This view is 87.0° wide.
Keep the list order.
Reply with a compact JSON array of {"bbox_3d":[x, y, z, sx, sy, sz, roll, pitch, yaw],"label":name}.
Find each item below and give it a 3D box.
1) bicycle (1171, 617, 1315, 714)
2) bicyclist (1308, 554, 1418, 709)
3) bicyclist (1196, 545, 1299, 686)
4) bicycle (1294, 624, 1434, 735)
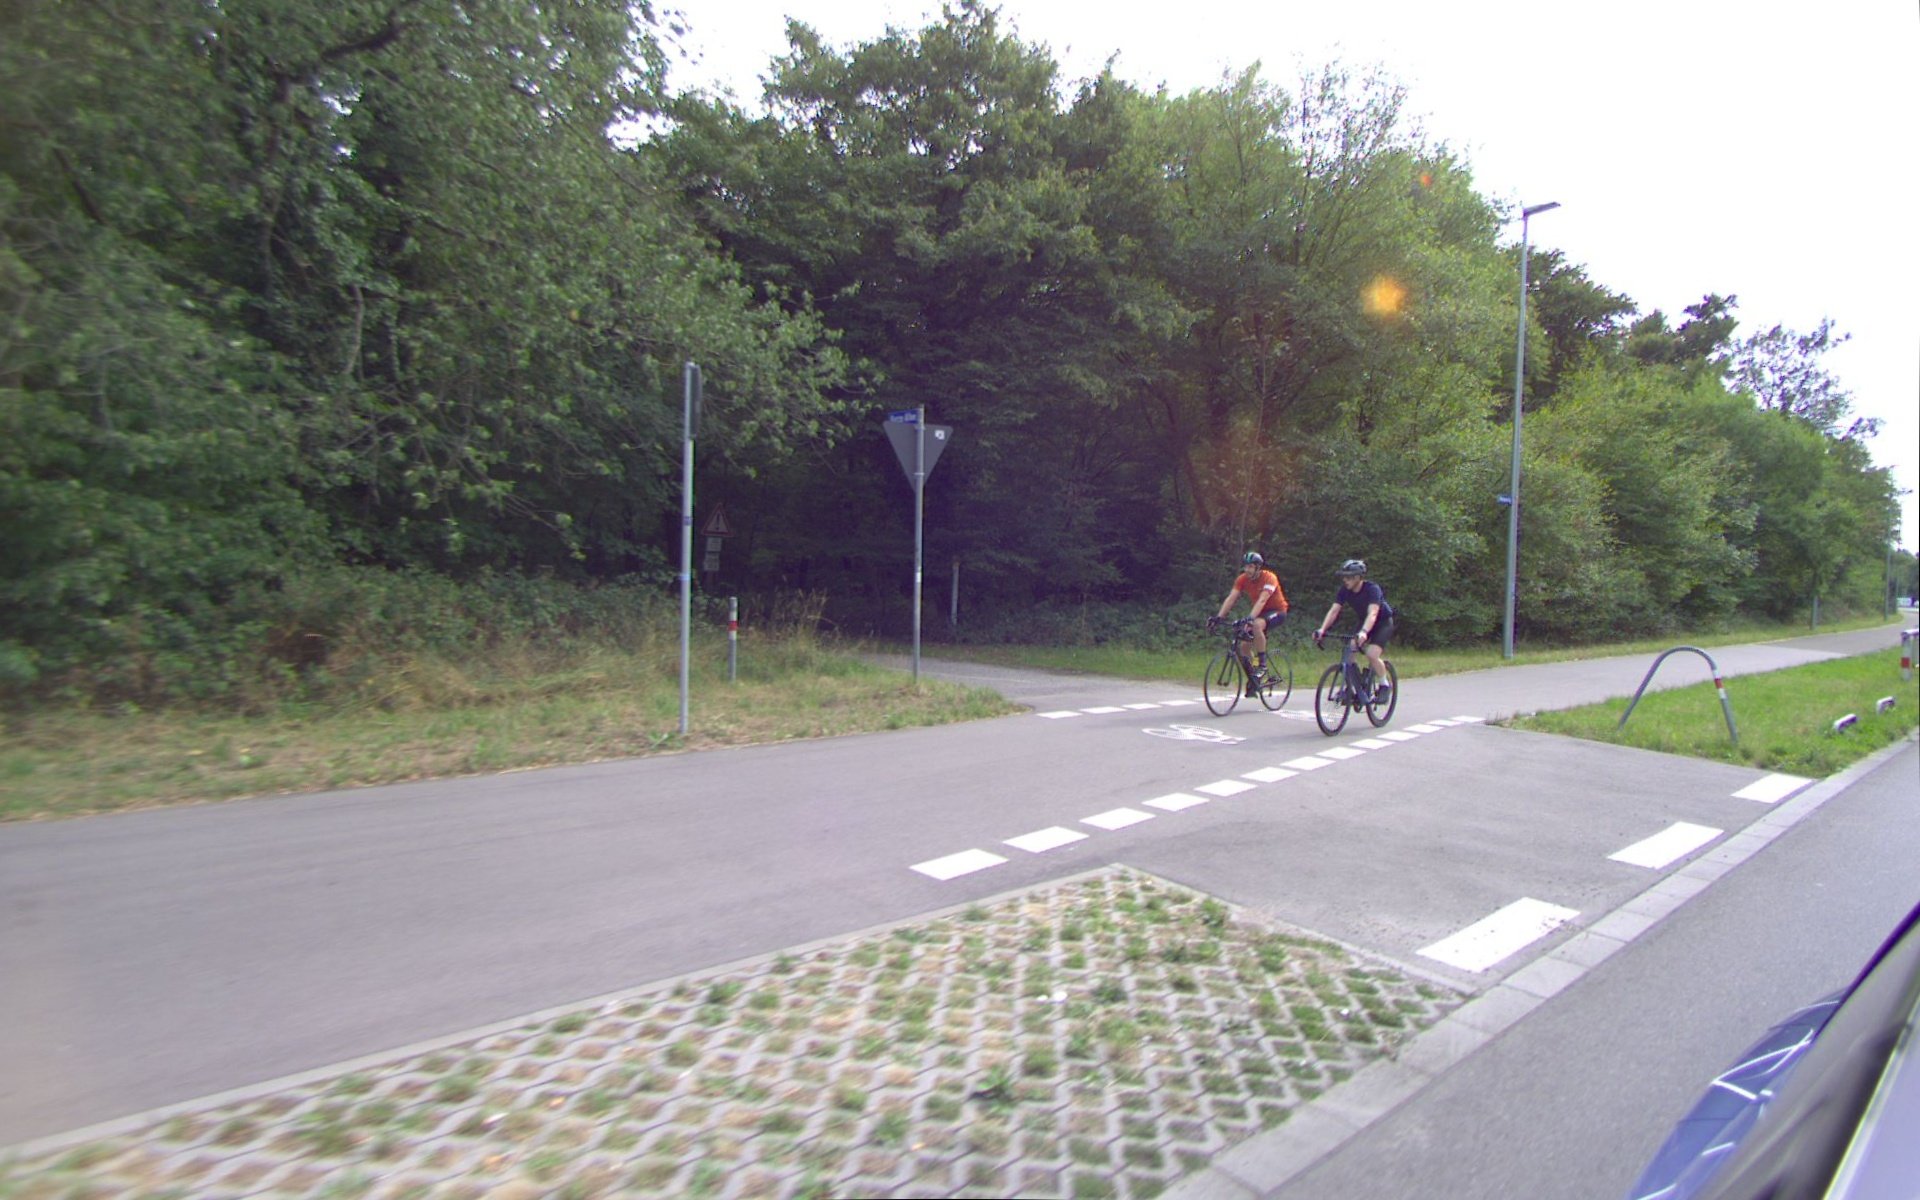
[{"bbox_3d":[3.080,0.667,10.914,1.854,0.923,0.567,1,2,-42],"label":"bicycle"},{"bbox_3d":[3.957,0.275,9.900,1.166,1.433,0.520,-1,2,-42],"label":"bicyclist"},{"bbox_3d":[3.095,0.150,10.850,1.166,1.433,0.520,-1,0,-42],"label":"bicyclist"},{"bbox_3d":[4.001,0.742,9.957,1.724,0.923,0.566,-1,2,-42],"label":"bicycle"}]
